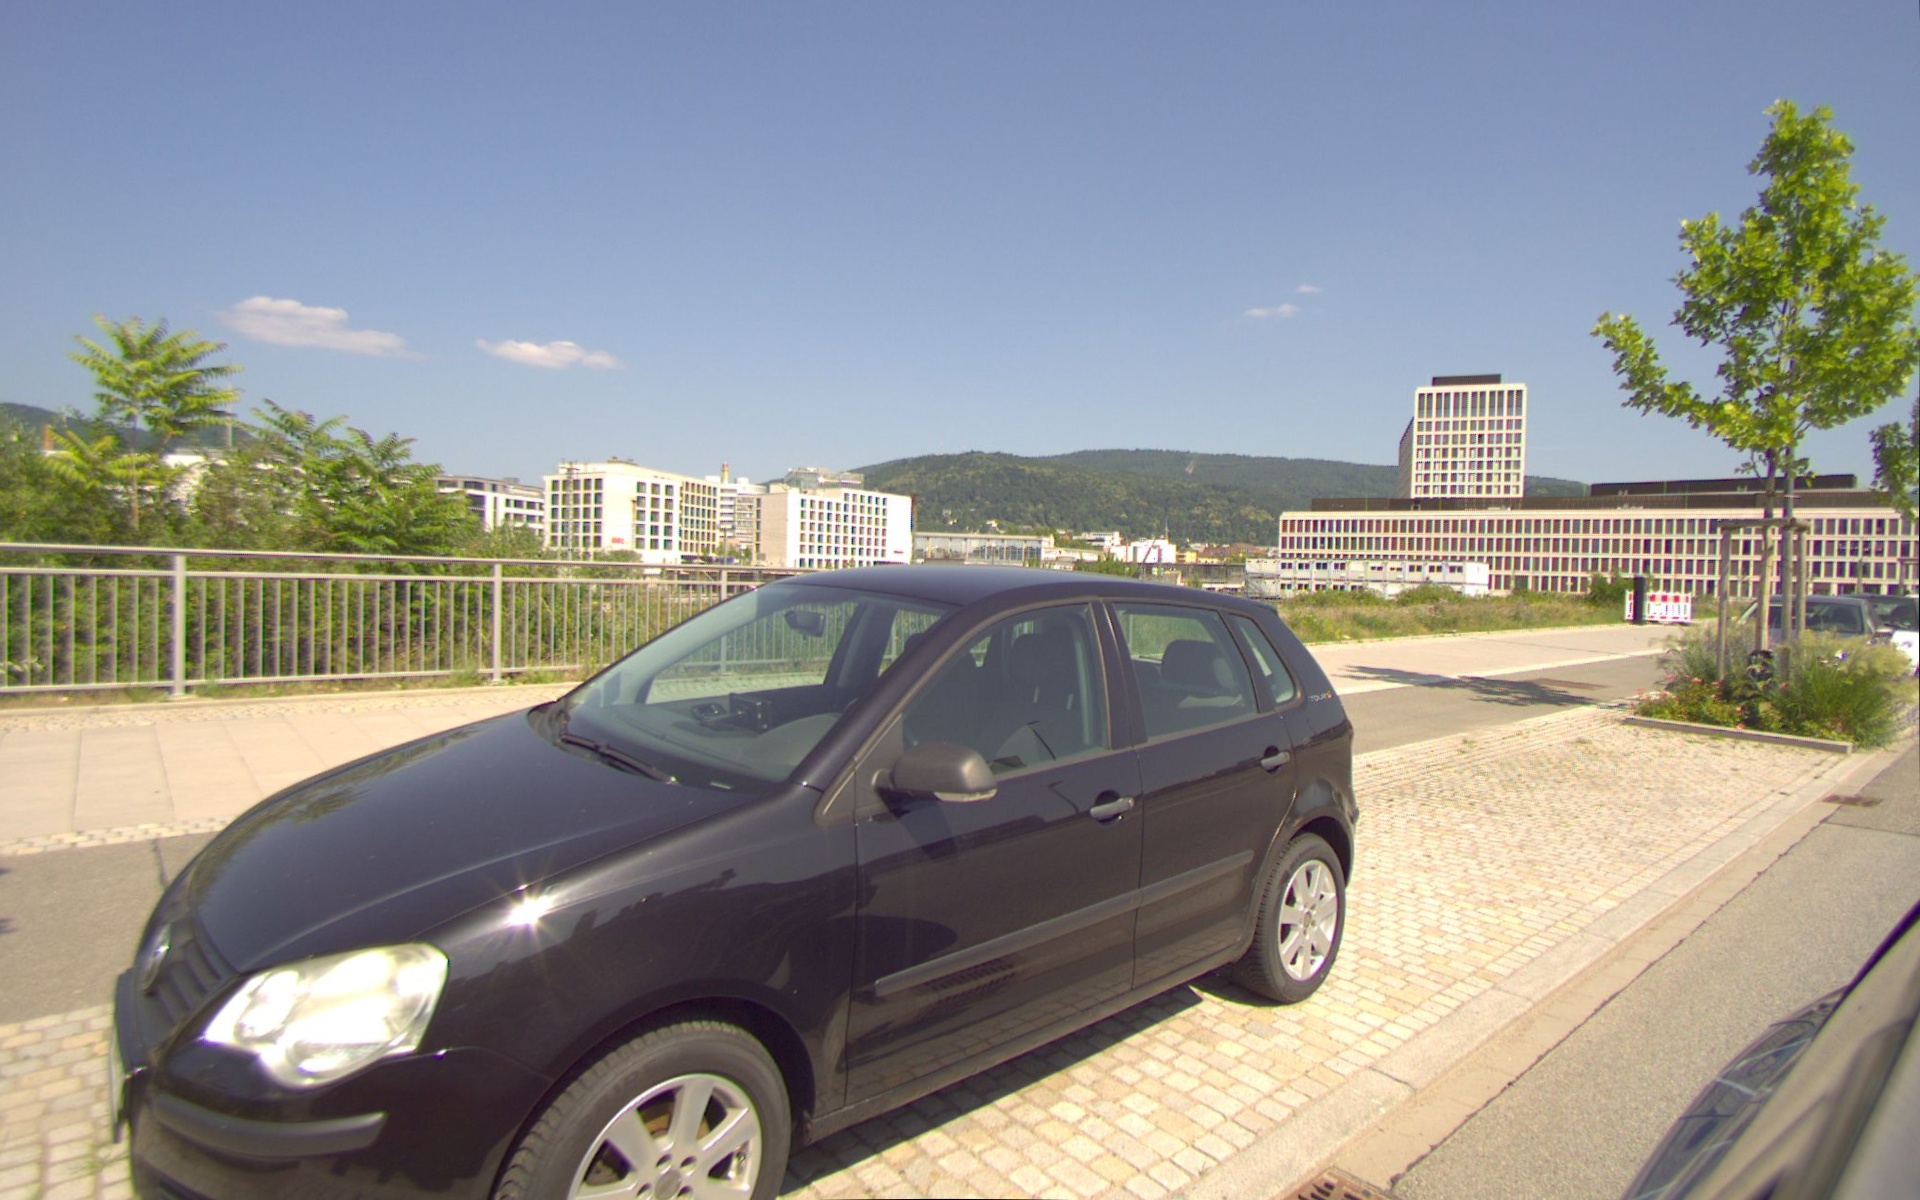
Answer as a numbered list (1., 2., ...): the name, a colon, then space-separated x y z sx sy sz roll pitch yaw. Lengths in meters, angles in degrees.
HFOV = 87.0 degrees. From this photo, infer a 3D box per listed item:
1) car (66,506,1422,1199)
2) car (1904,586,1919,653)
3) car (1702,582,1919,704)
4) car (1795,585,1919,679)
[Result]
1. car: -0.224 0.529 3.224 3.888 1.480 1.707 -2 4 -43
2. car: 23.814 0.456 24.022 3.932 1.528 1.748 0 1 -42
3. car: 12.008 0.516 14.215 3.884 1.481 1.707 0 1 -40
4. car: 16.385 0.509 17.922 4.011 1.481 1.708 0 1 -39
